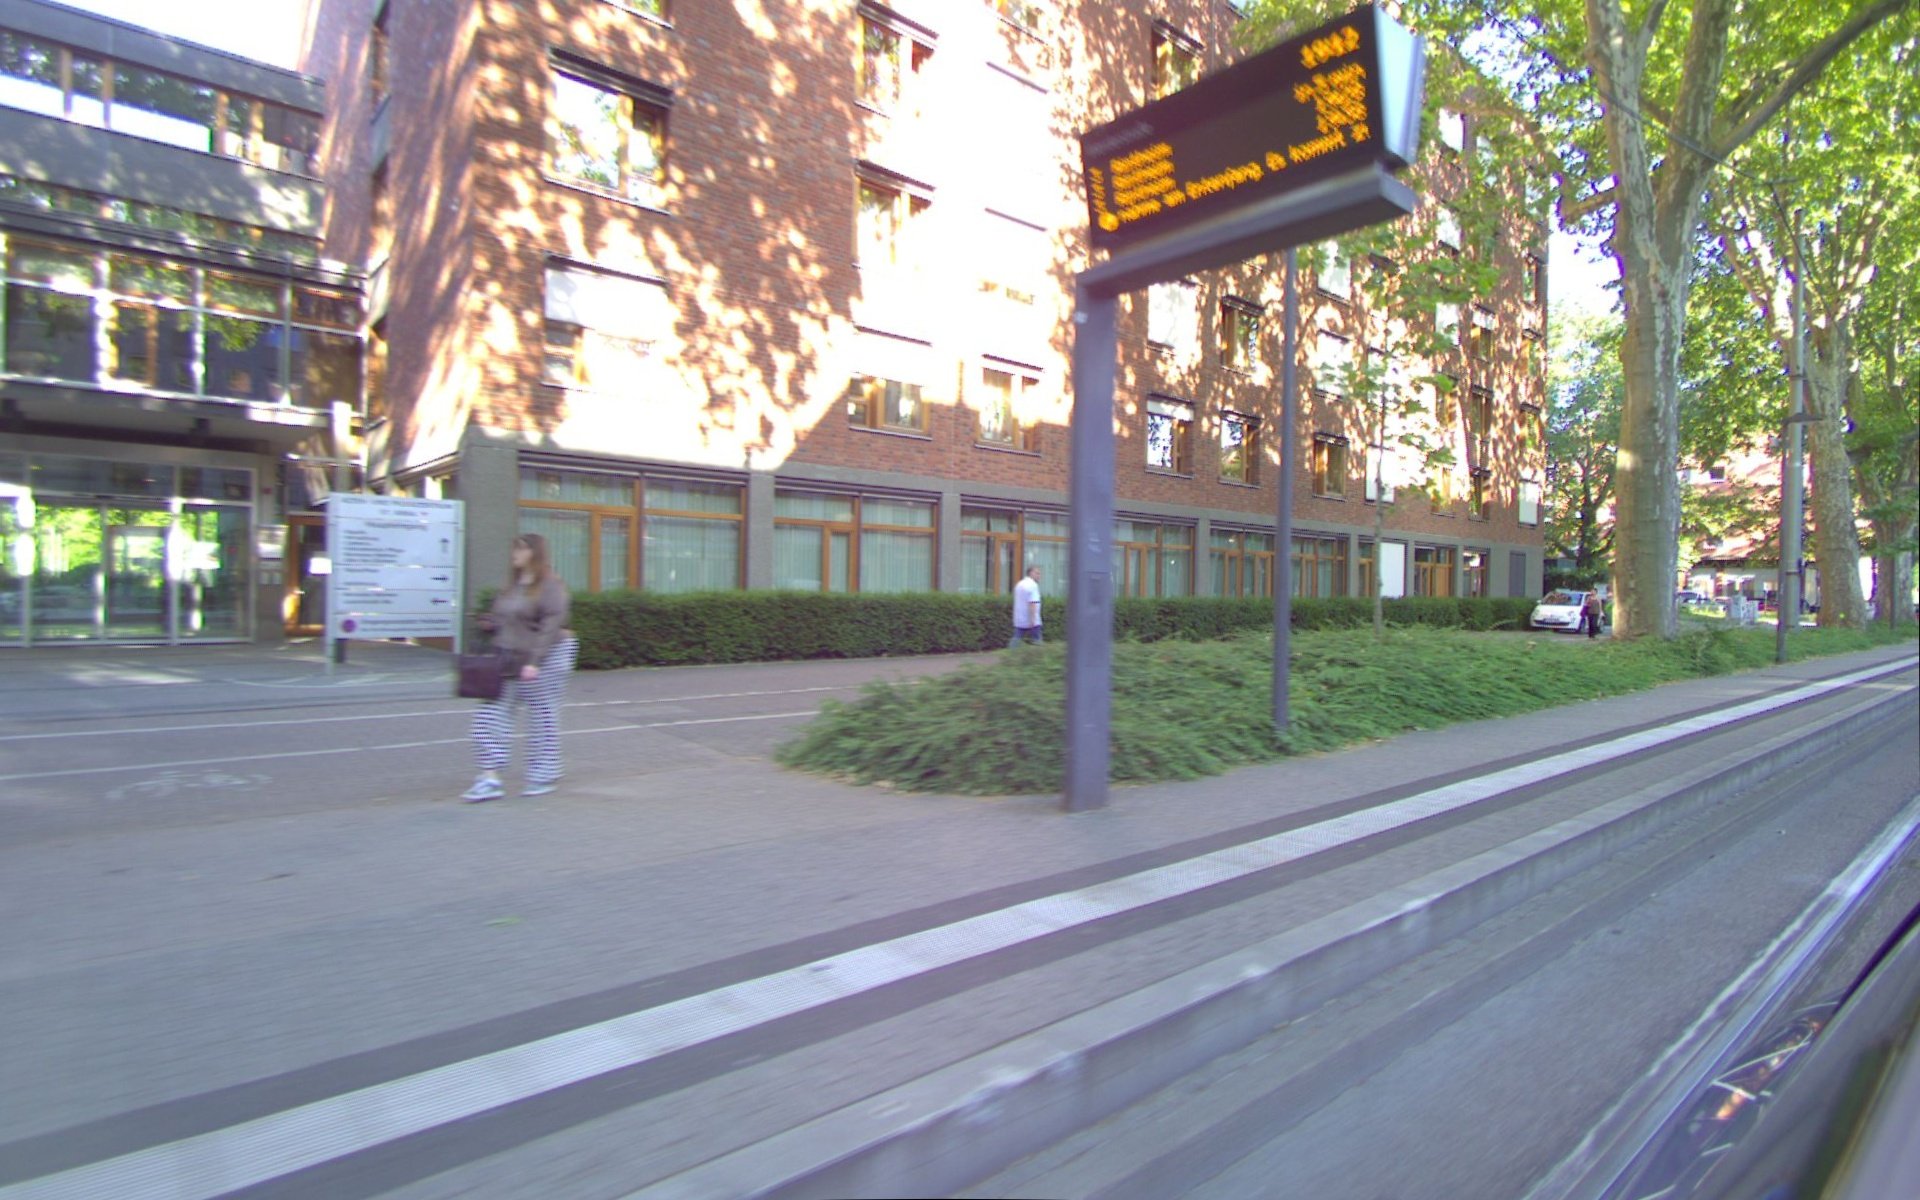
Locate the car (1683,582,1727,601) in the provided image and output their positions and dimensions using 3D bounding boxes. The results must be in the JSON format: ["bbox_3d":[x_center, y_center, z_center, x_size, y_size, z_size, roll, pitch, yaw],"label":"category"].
[{"bbox_3d":[61.445,-0.717,83.492,3.610,1.549,1.999,0,1,-38],"label":"car"}]

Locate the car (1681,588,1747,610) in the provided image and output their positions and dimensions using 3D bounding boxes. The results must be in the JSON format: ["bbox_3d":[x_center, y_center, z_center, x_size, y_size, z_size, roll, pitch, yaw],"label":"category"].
[{"bbox_3d":[56.933,-0.069,76.456,1.964,1.549,3.674,0,1,-39],"label":"car"}]

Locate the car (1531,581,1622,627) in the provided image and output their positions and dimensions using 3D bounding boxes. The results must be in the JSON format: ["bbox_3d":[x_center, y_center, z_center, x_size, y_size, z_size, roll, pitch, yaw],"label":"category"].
[{"bbox_3d":[21.998,0.112,36.076,3.892,1.527,1.657,0,1,-41],"label":"car"}]

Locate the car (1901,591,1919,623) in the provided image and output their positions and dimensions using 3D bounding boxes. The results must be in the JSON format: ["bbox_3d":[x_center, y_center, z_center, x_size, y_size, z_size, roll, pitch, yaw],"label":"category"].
[{"bbox_3d":[48.741,0.388,49.416,1.964,1.549,3.872,0,1,-39],"label":"car"}]

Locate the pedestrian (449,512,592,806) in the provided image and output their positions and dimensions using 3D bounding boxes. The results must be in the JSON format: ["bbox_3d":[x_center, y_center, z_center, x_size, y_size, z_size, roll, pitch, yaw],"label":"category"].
[{"bbox_3d":[-2.784,0.328,6.372,0.753,1.680,0.918,1,1,-27],"label":"pedestrian"}]

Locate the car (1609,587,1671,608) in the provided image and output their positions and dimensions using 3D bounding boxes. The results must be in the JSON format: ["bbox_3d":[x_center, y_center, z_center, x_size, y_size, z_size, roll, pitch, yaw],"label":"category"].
[{"bbox_3d":[53.846,-0.240,80.140,1.964,1.549,3.674,0,1,-39],"label":"car"}]

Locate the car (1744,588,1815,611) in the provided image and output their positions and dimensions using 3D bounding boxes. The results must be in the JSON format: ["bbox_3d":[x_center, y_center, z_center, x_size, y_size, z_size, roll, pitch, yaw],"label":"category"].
[{"bbox_3d":[59.417,-0.051,73.443,1.964,1.549,3.674,0,1,-39],"label":"car"}]

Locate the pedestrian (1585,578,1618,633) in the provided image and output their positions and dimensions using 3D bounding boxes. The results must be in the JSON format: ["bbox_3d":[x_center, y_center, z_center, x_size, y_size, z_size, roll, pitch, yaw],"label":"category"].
[{"bbox_3d":[20.285,0.163,32.000,0.736,1.712,0.710,0,1,-42],"label":"pedestrian"}]

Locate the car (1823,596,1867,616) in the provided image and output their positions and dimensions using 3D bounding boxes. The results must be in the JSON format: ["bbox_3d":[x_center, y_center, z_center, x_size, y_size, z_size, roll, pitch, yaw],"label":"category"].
[{"bbox_3d":[71.540,0.463,81.808,3.610,1.549,1.999,0,1,-38],"label":"car"}]

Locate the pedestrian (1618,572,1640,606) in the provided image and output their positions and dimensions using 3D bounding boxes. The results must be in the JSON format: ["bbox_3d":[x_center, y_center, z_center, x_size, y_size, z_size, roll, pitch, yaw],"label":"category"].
[{"bbox_3d":[35.154,-0.584,53.171,0.689,1.735,0.691,0,1,-33],"label":"pedestrian"}]

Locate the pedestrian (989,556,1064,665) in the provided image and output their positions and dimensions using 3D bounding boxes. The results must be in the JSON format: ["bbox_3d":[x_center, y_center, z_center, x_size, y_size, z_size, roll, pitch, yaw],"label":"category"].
[{"bbox_3d":[1.073,0.152,16.253,0.901,1.680,0.768,0,1,-41],"label":"pedestrian"}]
